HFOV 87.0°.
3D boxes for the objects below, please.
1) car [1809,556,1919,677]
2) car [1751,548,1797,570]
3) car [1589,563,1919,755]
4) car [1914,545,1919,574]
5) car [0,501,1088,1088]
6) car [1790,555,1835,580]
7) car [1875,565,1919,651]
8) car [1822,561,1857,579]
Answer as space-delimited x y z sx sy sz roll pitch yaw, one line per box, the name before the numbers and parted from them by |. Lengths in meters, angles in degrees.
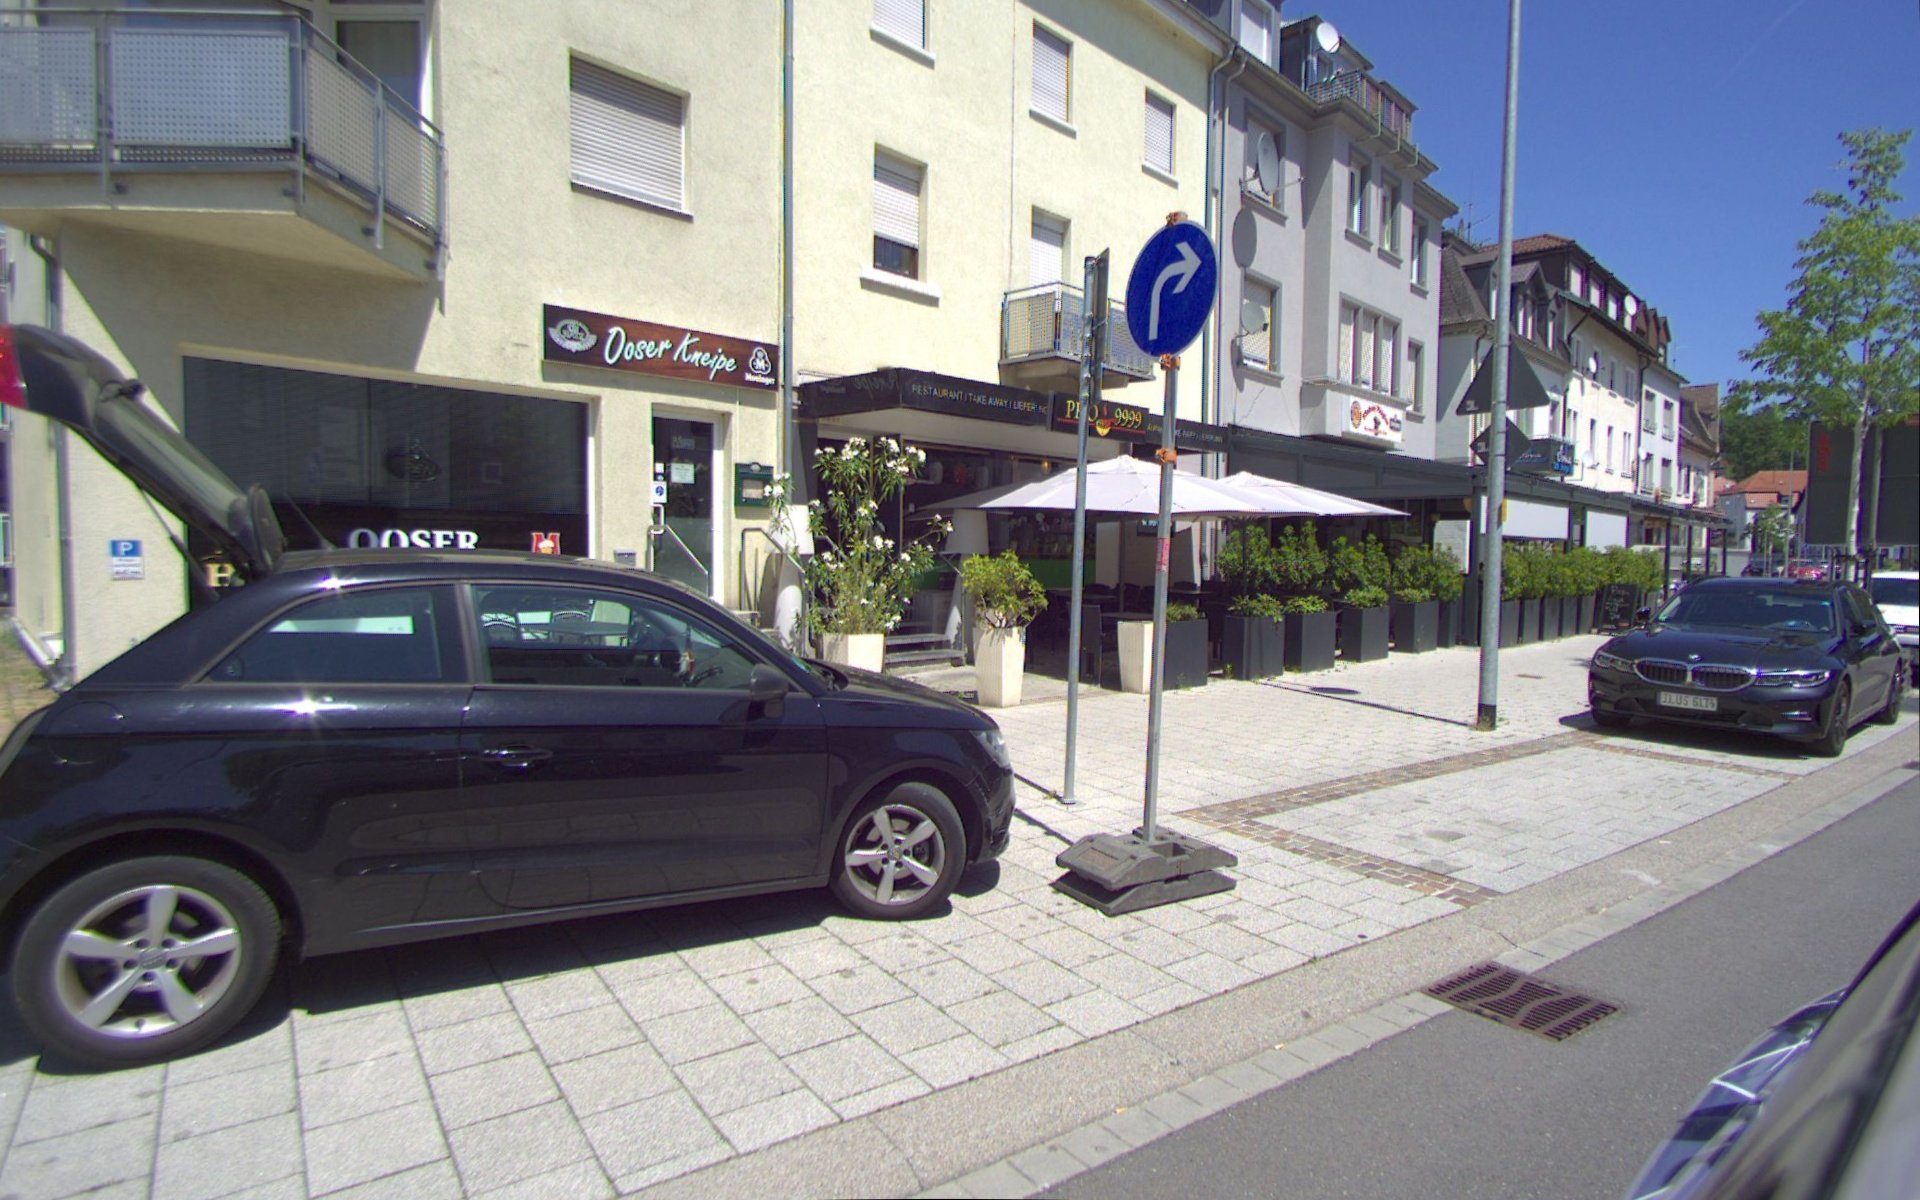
car | 13.868 0.167 14.517 3.981 1.503 1.743 -2 6 -38
car | 60.585 -3.048 75.388 1.719 1.490 4.285 4 5 27
car | 7.980 0.382 9.886 4.527 1.422 1.729 -2 4 -40
car | 57.730 -2.347 58.637 1.923 1.678 4.213 0 2 18
car | -1.564 0.448 4.226 3.785 1.509 1.881 0 3 -32
car | 54.141 -2.099 64.346 1.672 1.533 3.348 2 2 32
car | 18.847 0.102 18.646 4.015 1.500 1.840 -2 2 -31
car | 71.181 -2.470 81.916 1.661 1.413 3.801 2 2 34
